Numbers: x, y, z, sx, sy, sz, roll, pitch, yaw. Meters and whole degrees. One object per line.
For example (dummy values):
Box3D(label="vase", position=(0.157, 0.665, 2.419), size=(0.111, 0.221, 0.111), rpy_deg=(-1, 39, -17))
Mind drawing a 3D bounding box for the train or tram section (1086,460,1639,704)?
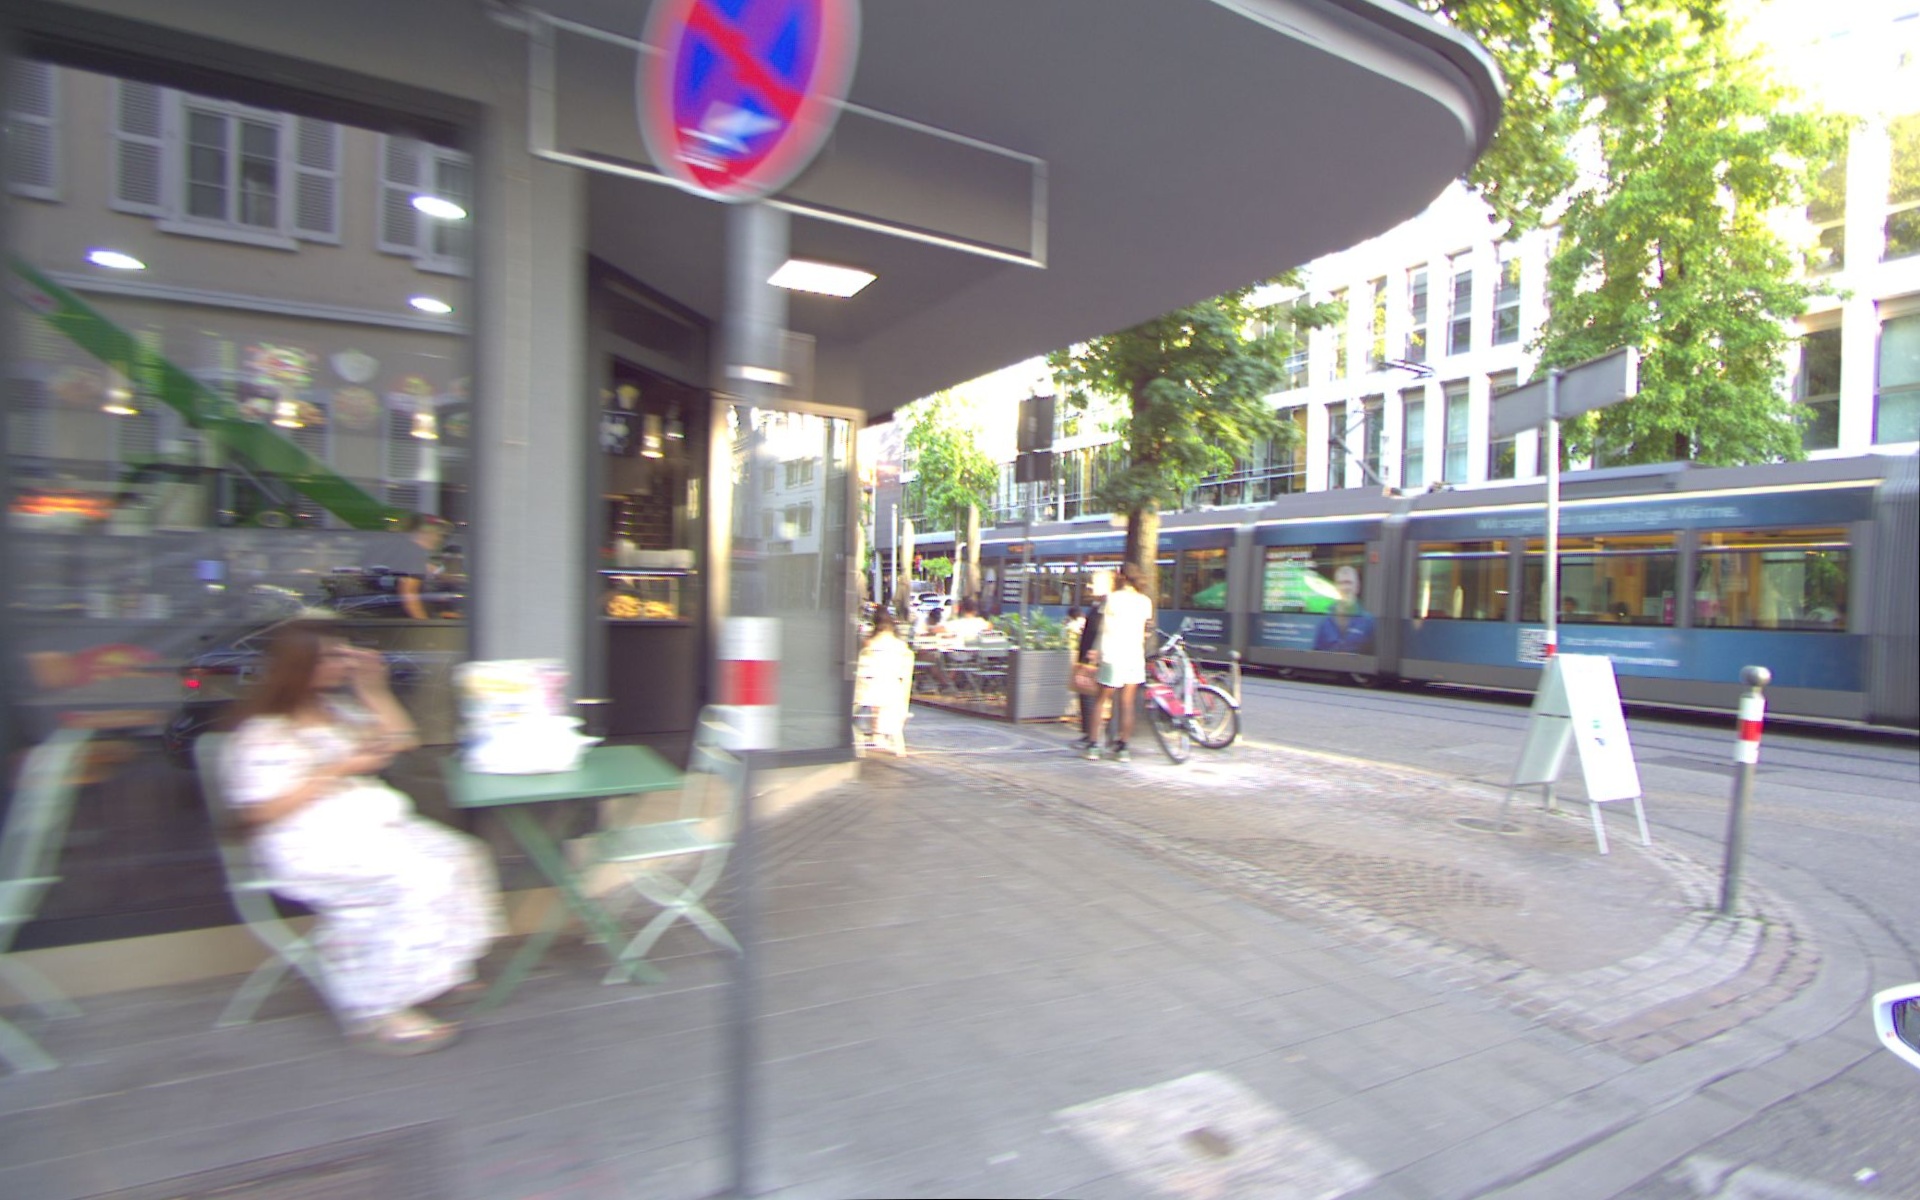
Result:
Box3D(label="train or tram section", position=(7.008, -0.255, 20.161), size=(2.978, 3.570, 10.758), rpy_deg=(2, 0, -30))

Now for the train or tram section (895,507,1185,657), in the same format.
Box3D(label="train or tram section", position=(1.795, -0.413, 29.393), size=(3.019, 3.570, 10.446), rpy_deg=(3, -1, -30))

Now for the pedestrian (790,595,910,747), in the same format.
Box3D(label="pedestrian", position=(-1.040, 0.639, 9.387), size=(0.839, 1.337, 0.876), rpy_deg=(2, -1, -26))

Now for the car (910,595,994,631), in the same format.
Box3D(label="car", position=(-0.327, 0.576, 47.323), size=(1.834, 1.477, 4.168), rpy_deg=(0, 2, 36))

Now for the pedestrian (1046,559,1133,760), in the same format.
Box3D(label="pedestrian", position=(1.214, 0.527, 9.303), size=(0.629, 1.764, 0.782), rpy_deg=(1, -1, 18))

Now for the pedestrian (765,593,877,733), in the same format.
Box3D(label="pedestrian", position=(-1.427, 0.622, 10.246), size=(0.877, 1.337, 0.875), rpy_deg=(2, -1, -27))

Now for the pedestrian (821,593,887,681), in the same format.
Box3D(label="pedestrian", position=(-1.726, 0.587, 16.313), size=(0.709, 1.380, 1.004), rpy_deg=(2, -1, -28))

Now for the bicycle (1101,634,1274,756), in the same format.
Box3D(label="bicycle", position=(2.370, 0.947, 10.367), size=(1.847, 1.154, 0.621), rpy_deg=(2, -1, -33))

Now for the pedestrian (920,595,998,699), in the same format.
Box3D(label="pedestrian", position=(-0.023, 0.629, 13.904), size=(0.709, 1.380, 0.918), rpy_deg=(2, -1, -28))

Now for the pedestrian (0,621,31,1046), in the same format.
Box3D(label="pedestrian", position=(-2.996, 0.686, 2.604), size=(0.682, 1.212, 0.701), rpy_deg=(1, 4, -27))

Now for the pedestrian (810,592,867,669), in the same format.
Box3D(label="pedestrian", position=(-2.270, 0.554, 18.687), size=(0.709, 1.380, 1.004), rpy_deg=(2, -1, -28))

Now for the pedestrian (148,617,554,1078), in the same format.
Box3D(label="pedestrian", position=(-1.864, 0.693, 3.171), size=(0.825, 1.235, 0.706), rpy_deg=(1, 1, 7))

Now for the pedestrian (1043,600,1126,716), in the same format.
Box3D(label="pedestrian", position=(1.556, 0.710, 12.648), size=(0.687, 1.395, 0.787), rpy_deg=(2, -1, -28))

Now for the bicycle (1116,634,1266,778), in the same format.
Box3D(label="bicycle", position=(2.163, 0.902, 9.226), size=(0.767, 1.154, 1.862), rpy_deg=(1, -1, 32))

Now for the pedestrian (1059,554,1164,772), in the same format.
Box3D(label="pedestrian", position=(1.311, 0.518, 8.630), size=(0.630, 1.764, 0.780), rpy_deg=(1, -1, 29))

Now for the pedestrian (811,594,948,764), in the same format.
Box3D(label="pedestrian", position=(-0.697, 0.641, 8.536), size=(0.877, 1.337, 0.875), rpy_deg=(2, -1, -27))

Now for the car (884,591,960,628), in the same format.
Box3D(label="car", position=(-1.820, 0.432, 49.576), size=(1.886, 1.660, 4.201), rpy_deg=(0, 2, 28))

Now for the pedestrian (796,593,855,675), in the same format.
Box3D(label="pedestrian", position=(-2.340, 0.584, 17.415), size=(0.709, 1.380, 0.918), rpy_deg=(2, -1, -28))

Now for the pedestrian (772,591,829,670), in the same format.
Box3D(label="pedestrian", position=(-2.913, 0.551, 18.288), size=(0.709, 1.380, 1.004), rpy_deg=(2, -1, -28))

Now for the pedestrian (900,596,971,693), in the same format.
Box3D(label="pedestrian", position=(-0.375, 0.649, 14.824), size=(0.709, 1.380, 0.865), rpy_deg=(2, -1, -28))

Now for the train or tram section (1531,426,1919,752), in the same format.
Box3D(label="train or tram section", position=(12.227, -0.075, 10.980), size=(2.982, 3.570, 10.318), rpy_deg=(2, -1, -30))
